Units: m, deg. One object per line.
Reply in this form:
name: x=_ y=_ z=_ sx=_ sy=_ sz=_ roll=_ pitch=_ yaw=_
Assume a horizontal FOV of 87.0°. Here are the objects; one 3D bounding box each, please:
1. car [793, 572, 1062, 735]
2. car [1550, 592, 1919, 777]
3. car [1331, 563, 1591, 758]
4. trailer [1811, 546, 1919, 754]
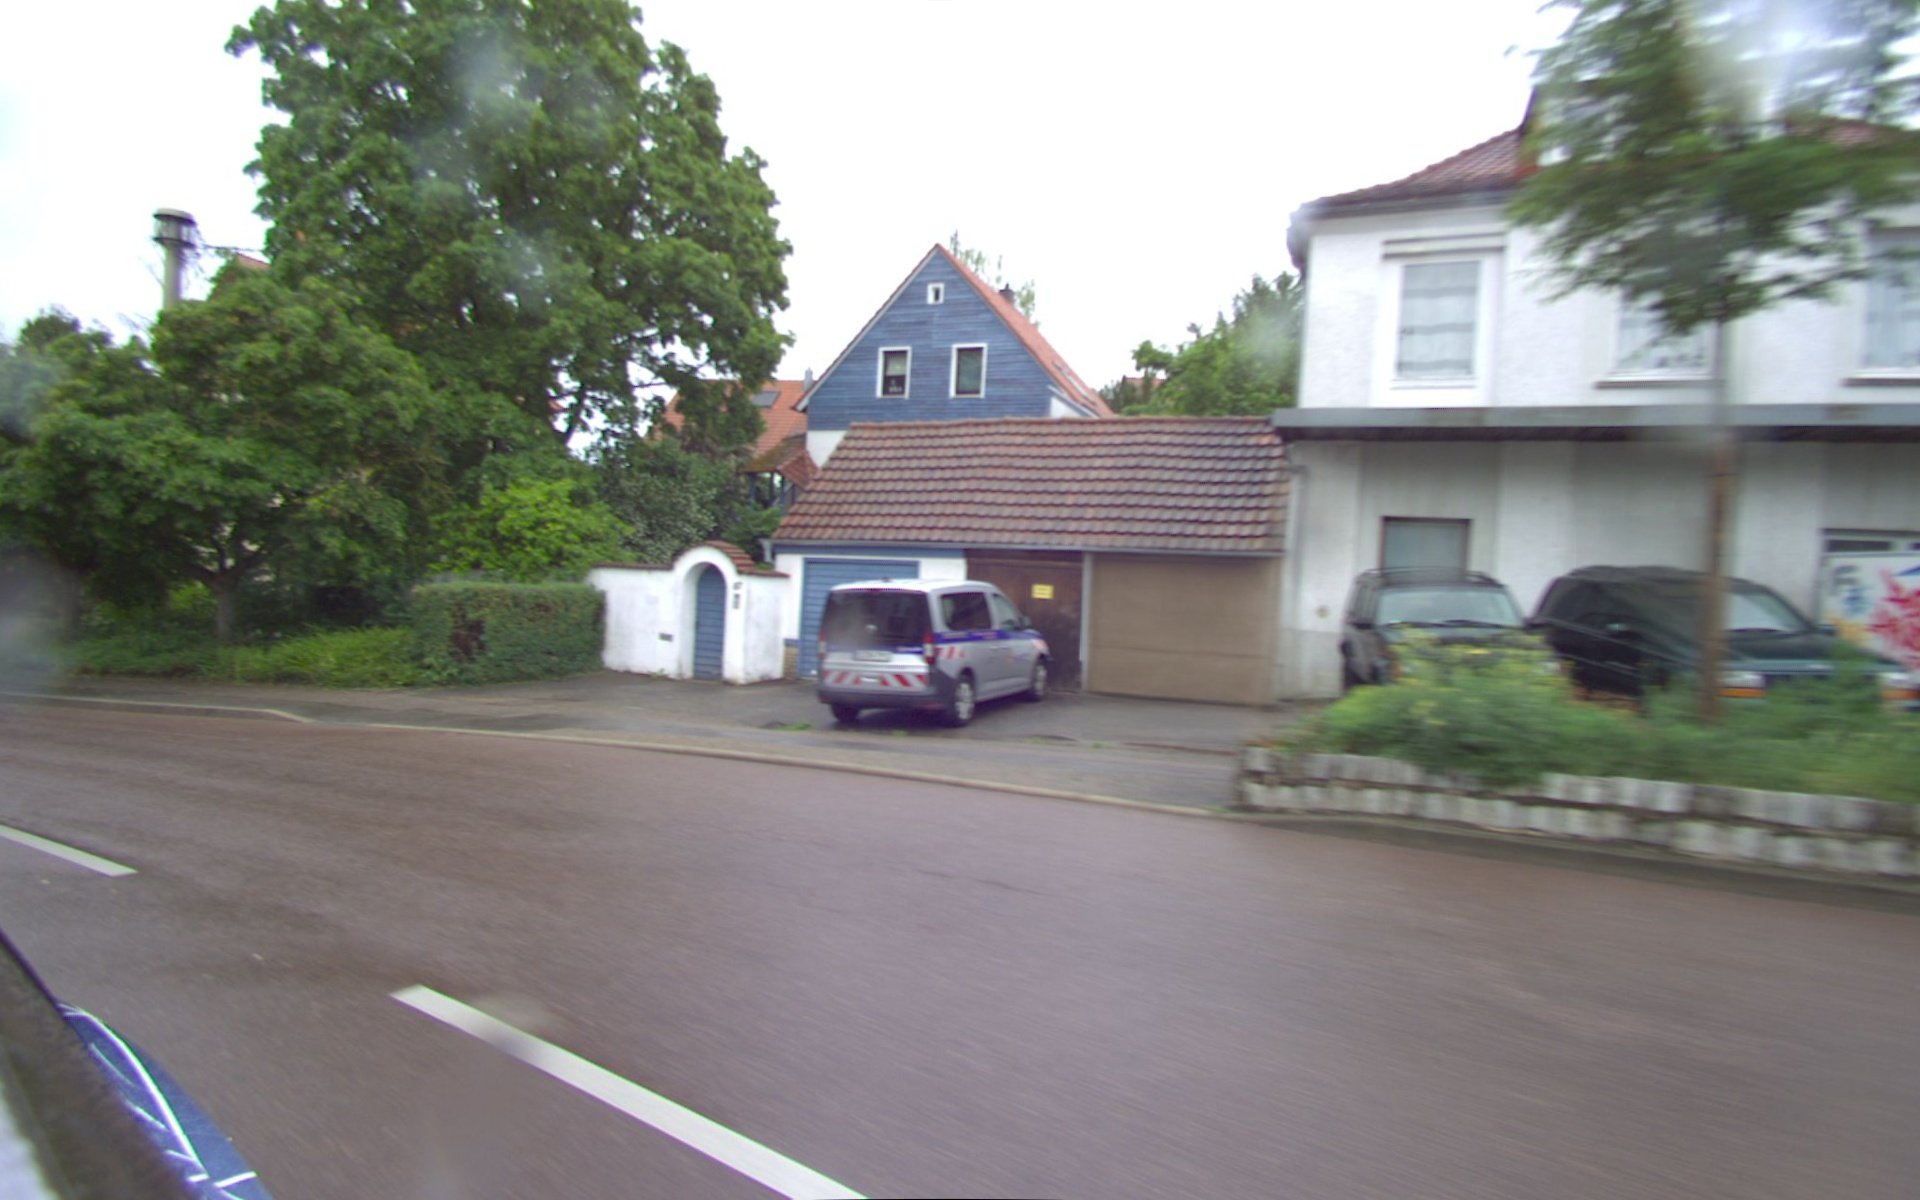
car: x=-0.248 y=0.593 z=13.589 sx=1.989 sy=1.813 sz=4.085 roll=0 pitch=0 yaw=25
car: x=7.434 y=0.684 z=9.976 sx=1.821 sy=1.496 sz=3.332 roll=0 pitch=0 yaw=12
car: x=5.413 y=0.536 z=11.496 sx=1.782 sy=1.787 sz=4.072 roll=0 pitch=1 yaw=14
trailer: x=10.742 y=0.505 z=9.643 sx=1.927 sy=2.118 sz=3.959 roll=1 pitch=-1 yaw=1
